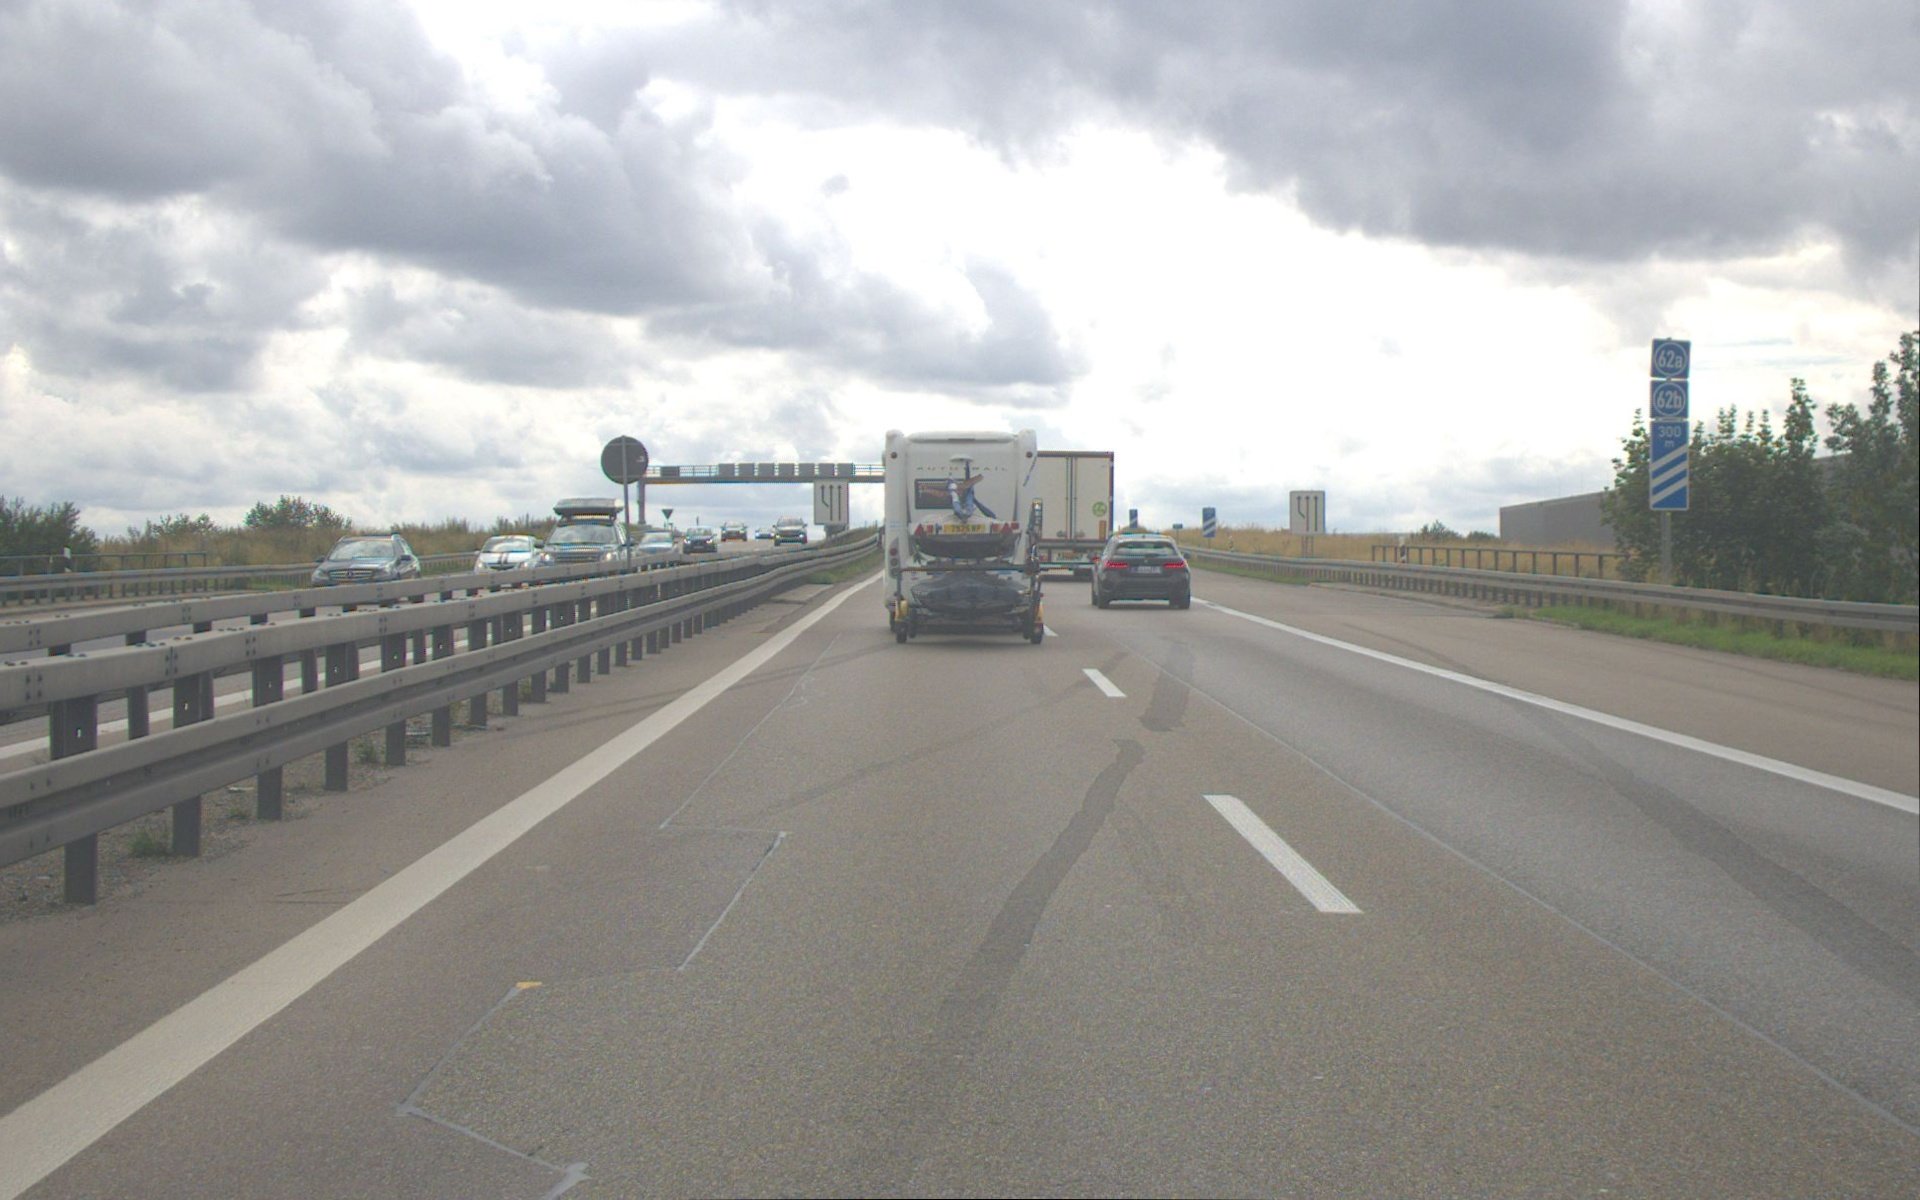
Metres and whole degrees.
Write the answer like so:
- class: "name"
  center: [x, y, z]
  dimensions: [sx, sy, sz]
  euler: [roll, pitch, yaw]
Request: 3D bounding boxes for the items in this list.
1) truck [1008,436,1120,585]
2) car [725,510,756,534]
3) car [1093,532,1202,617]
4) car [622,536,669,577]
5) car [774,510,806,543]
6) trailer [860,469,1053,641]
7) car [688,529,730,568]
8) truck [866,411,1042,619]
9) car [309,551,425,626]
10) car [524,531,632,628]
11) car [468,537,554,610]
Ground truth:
- class: "truck"
  center: [3.215, -2.757, 108.351]
  dimensions: [3.246, 4.510, 7.066]
  euler: [0, 0, 0]
- class: "car"
  center: [-15.708, -5.619, 246.459]
  dimensions: [1.939, 1.678, 4.000]
  euler: [1, 2, 0]
- class: "car"
  center: [3.671, -0.501, 68.021]
  dimensions: [1.882, 1.615, 4.000]
  euler: [0, 0, -1]
- class: "car"
  center: [-14.076, -1.949, 153.885]
  dimensions: [1.752, 1.780, 4.000]
  euler: [0, 0, 0]
- class: "car"
  center: [-10.379, -4.495, 210.208]
  dimensions: [1.714, 1.893, 4.000]
  euler: [0, 0, 0]
- class: "trailer"
  center: [0.008, -0.565, 44.821]
  dimensions: [2.338, 2.129, 4.000]
  euler: [0, 0, 2]
- class: "car"
  center: [-13.161, -2.677, 180.354]
  dimensions: [1.893, 2.007, 4.000]
  euler: [0, 0, 0]
- class: "truck"
  center: [-0.070, -1.211, 51.801]
  dimensions: [2.482, 2.940, 5.815]
  euler: [0, 0, 0]
- class: "car"
  center: [-12.531, -0.267, 72.822]
  dimensions: [1.756, 1.463, 4.561]
  euler: [0, 1, -1]
- class: "car"
  center: [-8.297, -0.473, 74.963]
  dimensions: [1.993, 2.007, 4.384]
  euler: [0, 1, -2]
- class: "car"
  center: [-12.673, -0.751, 97.256]
  dimensions: [1.993, 2.007, 4.384]
  euler: [0, 0, -2]
